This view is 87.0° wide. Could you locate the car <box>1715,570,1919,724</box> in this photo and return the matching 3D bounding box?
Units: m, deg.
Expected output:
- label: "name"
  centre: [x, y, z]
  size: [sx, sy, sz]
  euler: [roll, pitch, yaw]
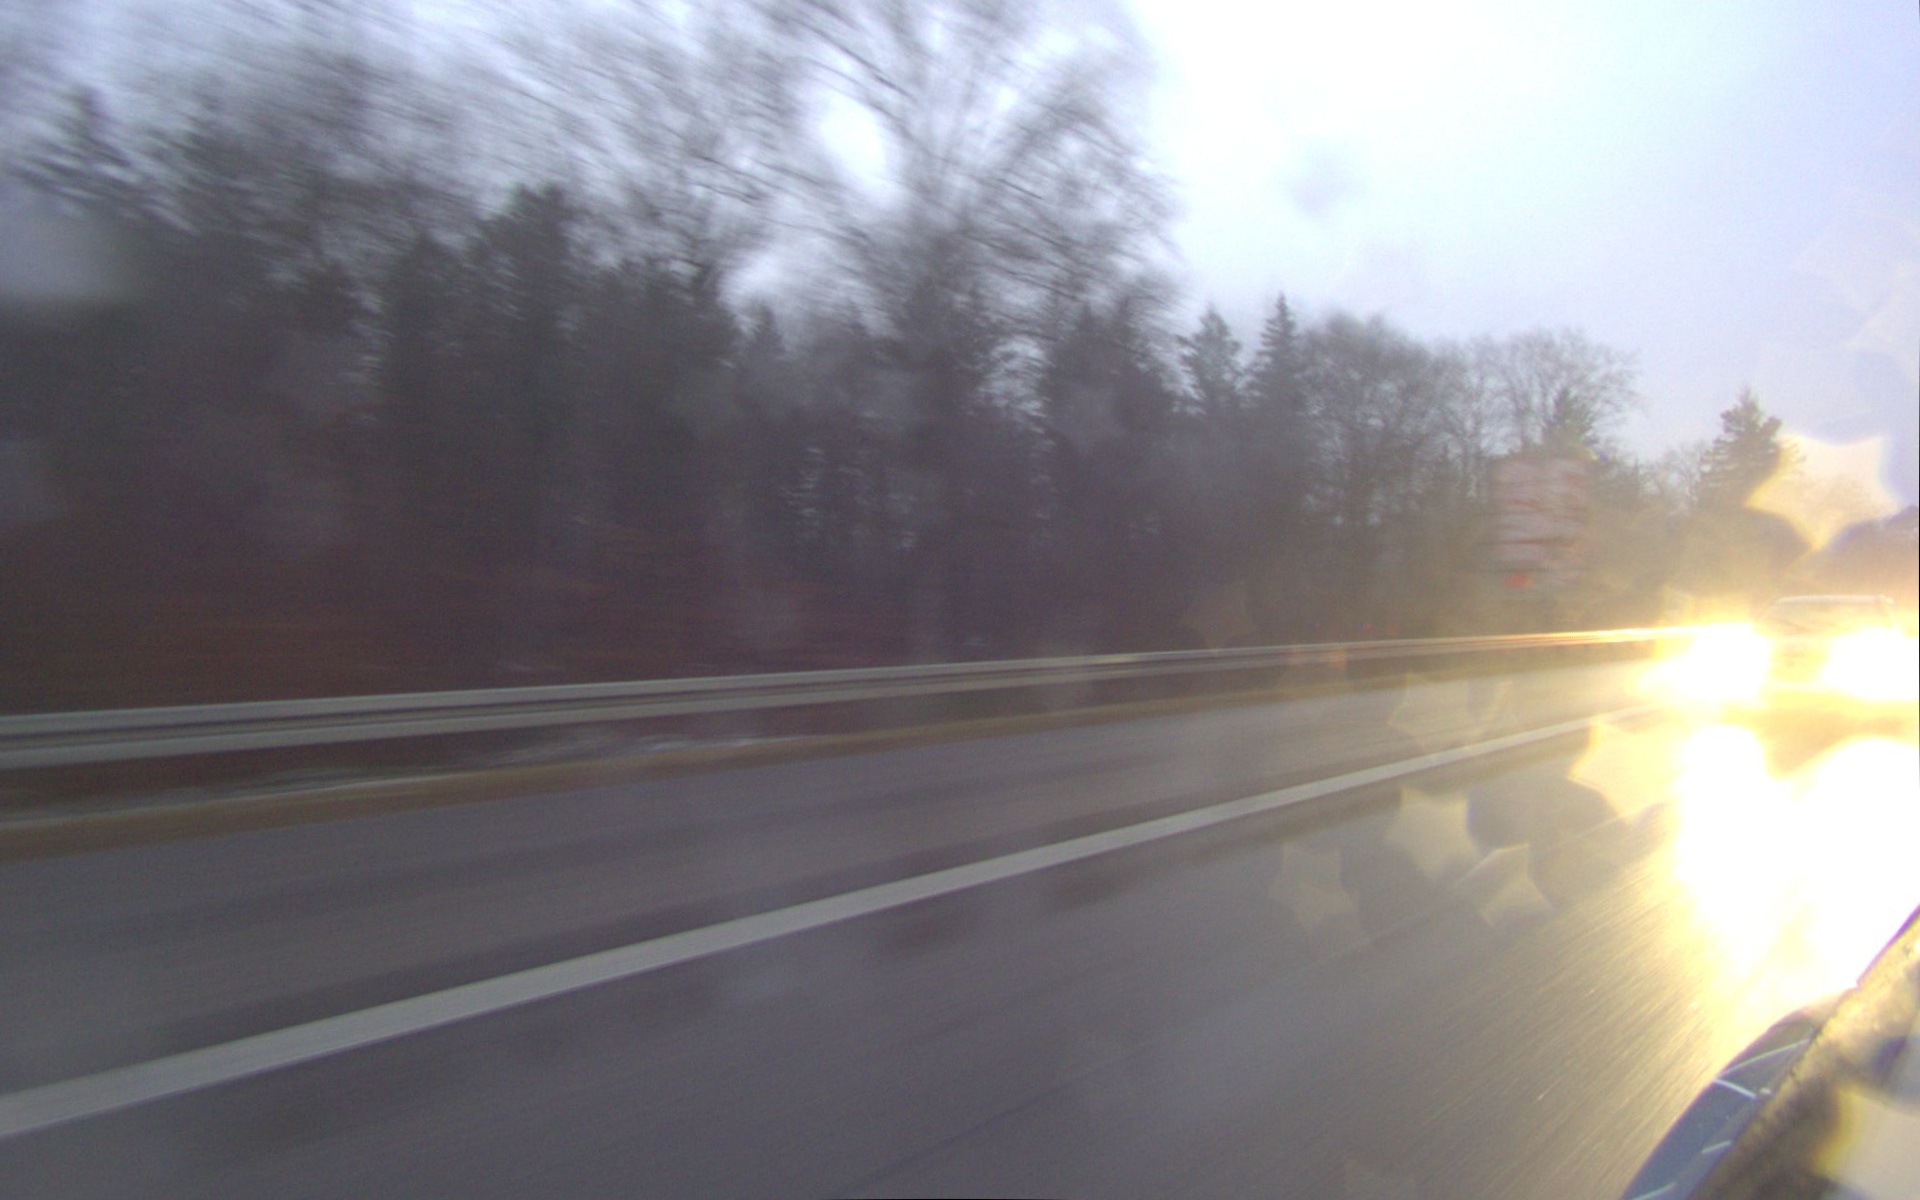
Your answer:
- label: "car"
  centre: [12.103, 0.536, 13.977]
  size: [3.872, 1.814, 1.927]
  euler: [0, 0, -41]
